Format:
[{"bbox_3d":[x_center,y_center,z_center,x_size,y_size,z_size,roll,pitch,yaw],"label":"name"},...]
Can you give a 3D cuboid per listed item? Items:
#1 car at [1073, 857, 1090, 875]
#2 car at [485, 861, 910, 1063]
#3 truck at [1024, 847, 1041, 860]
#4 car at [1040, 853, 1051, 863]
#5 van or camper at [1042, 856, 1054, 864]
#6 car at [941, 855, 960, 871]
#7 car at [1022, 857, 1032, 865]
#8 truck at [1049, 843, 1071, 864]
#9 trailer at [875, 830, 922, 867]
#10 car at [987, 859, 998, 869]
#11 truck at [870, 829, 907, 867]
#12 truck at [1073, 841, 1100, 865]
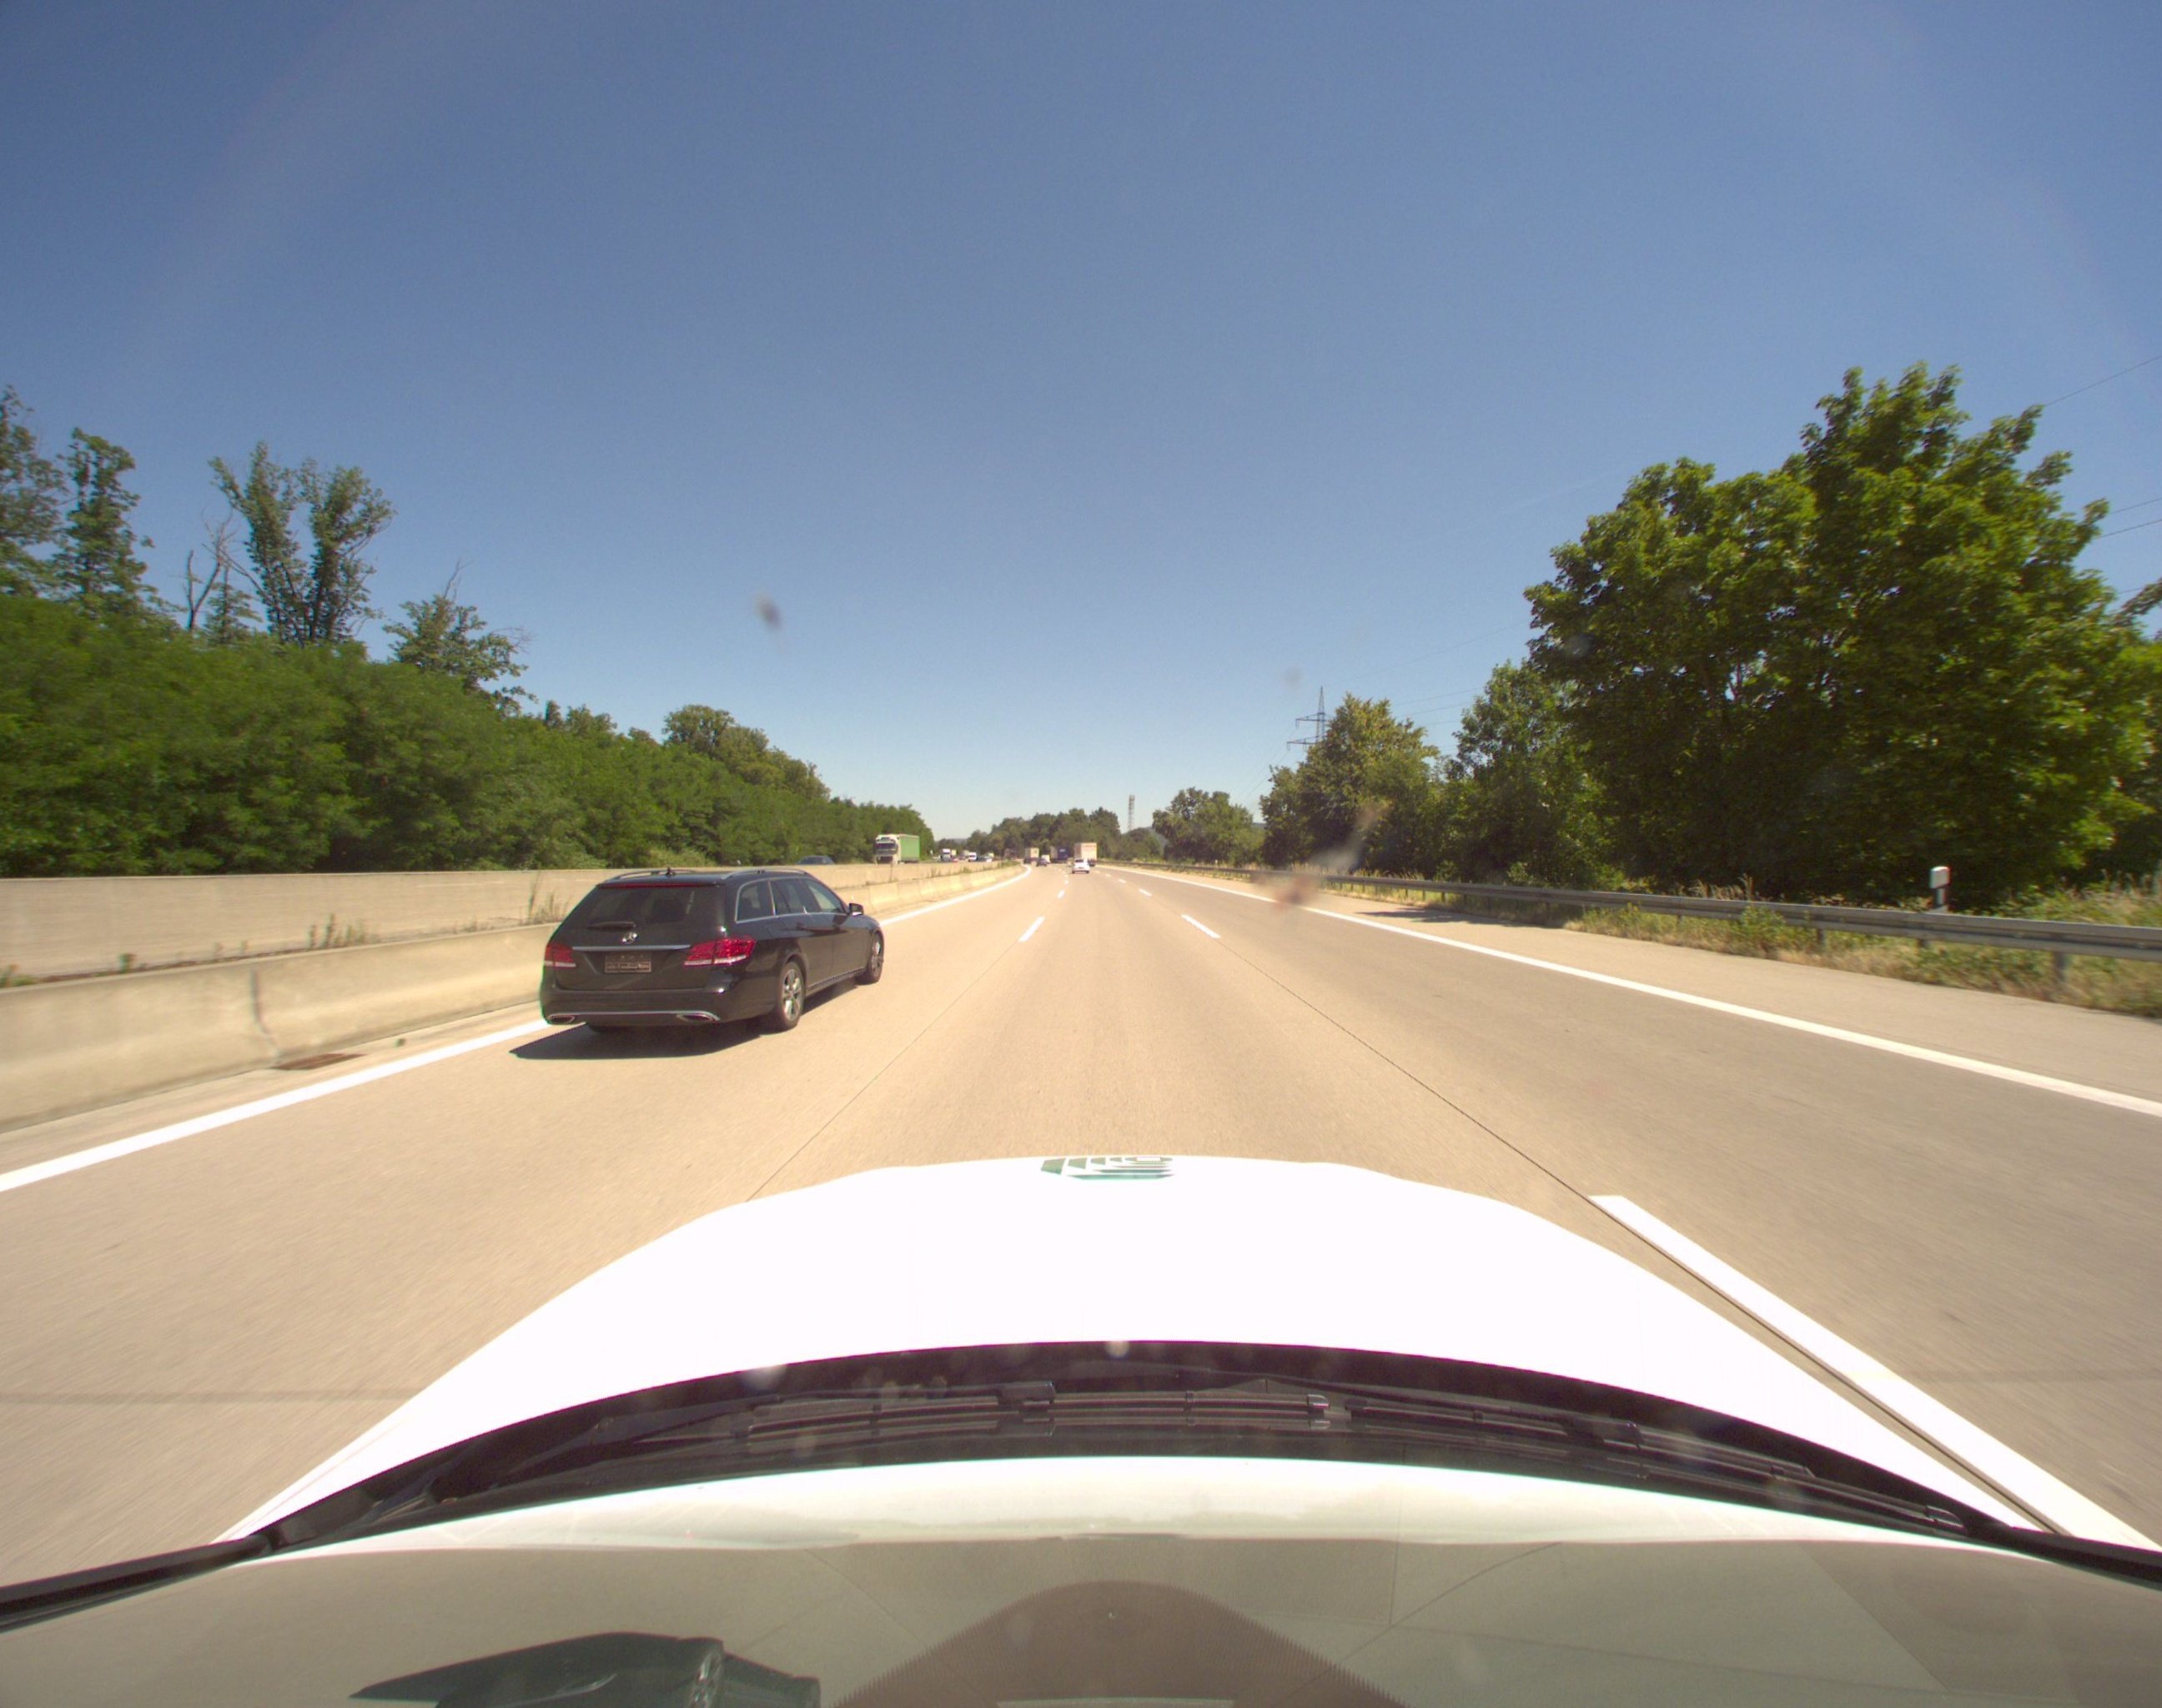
[{"bbox_3d":[0.059,1.169,83.107,1.636,1.662,3.359,4,0,0],"label":"car"},{"bbox_3d":[-3.526,0.852,9.031,1.883,1.473,5.606,-1,0,2],"label":"car"},{"bbox_3d":[-15.373,-0.027,258.035,3.896,3.983,13.575,-1,0,-10],"label":"truck"},{"bbox_3d":[-6.525,0.791,148.742,1.609,1.725,3.564,-1,0,-7],"label":"car"},{"bbox_3d":[-7.661,1.412,188.216,1.870,1.838,3.981,-1,0,-14],"label":"van or camper"},{"bbox_3d":[-17.027,1.222,106.380,1.857,2.014,3.997,-1,0,-2],"label":"car"},{"bbox_3d":[-12.429,1.579,187.259,2.020,1.700,3.991,4,0,-7],"label":"car"},{"bbox_3d":[-5.088,0.004,195.913,3.904,4.741,14.014,-1,0,-7],"label":"truck"},{"bbox_3d":[-20.842,-0.566,93.764,2.675,3.935,13.238,-1,0,-1],"label":"trailer"},{"bbox_3d":[-16.052,1.815,147.700,1.991,1.616,3.991,-1,0,-6],"label":"car"},{"bbox_3d":[-20.732,-0.614,87.870,2.657,3.935,5.965,-1,0,-1],"label":"truck"},{"bbox_3d":[0.879,-0.149,139.167,3.811,3.889,14.136,-1,0,-3],"label":"truck"}]
